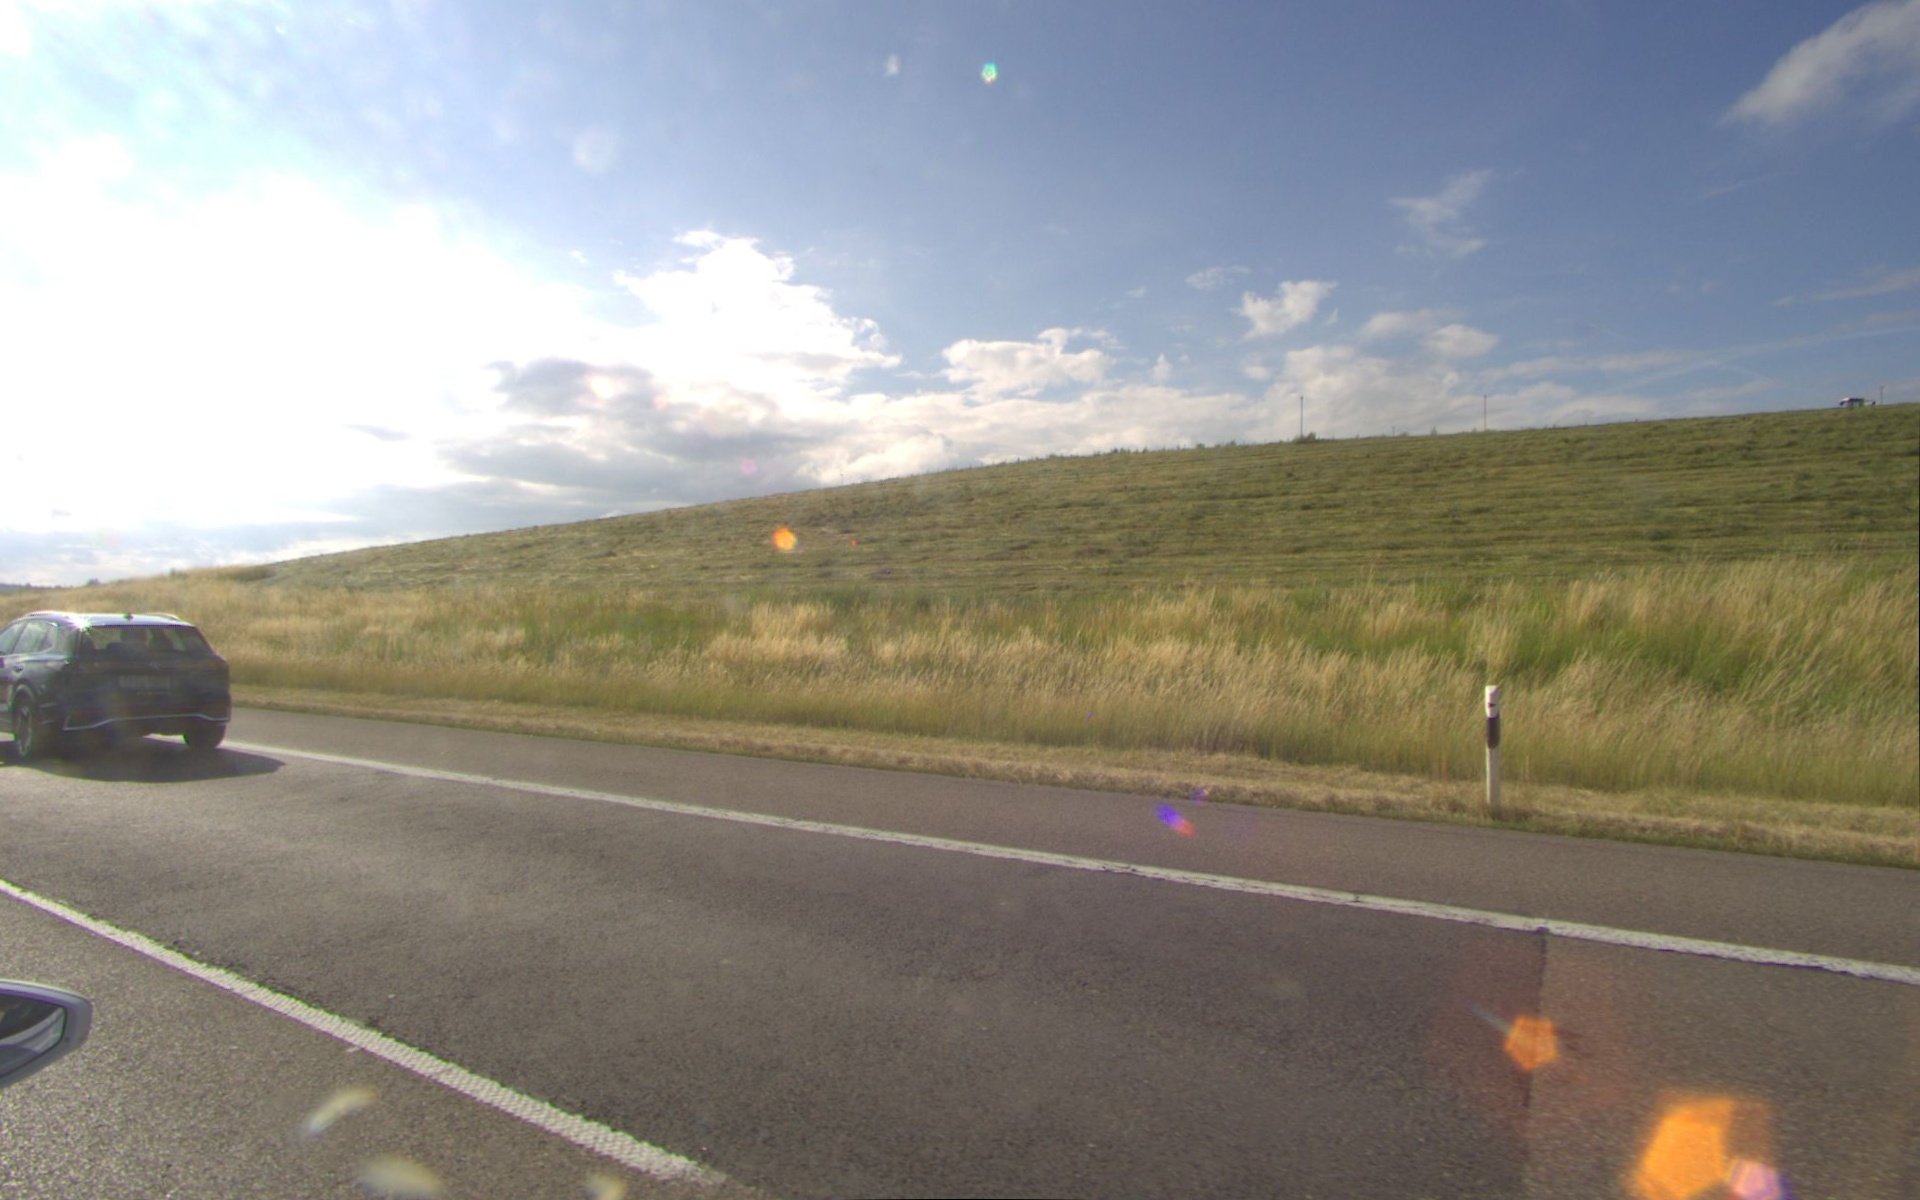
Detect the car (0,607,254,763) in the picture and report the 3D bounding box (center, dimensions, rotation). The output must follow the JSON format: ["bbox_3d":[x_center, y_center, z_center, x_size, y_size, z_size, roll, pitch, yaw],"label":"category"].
[{"bbox_3d":[-10.714,0.966,12.346,4.174,1.621,1.818,-1,-3,32],"label":"car"}]
